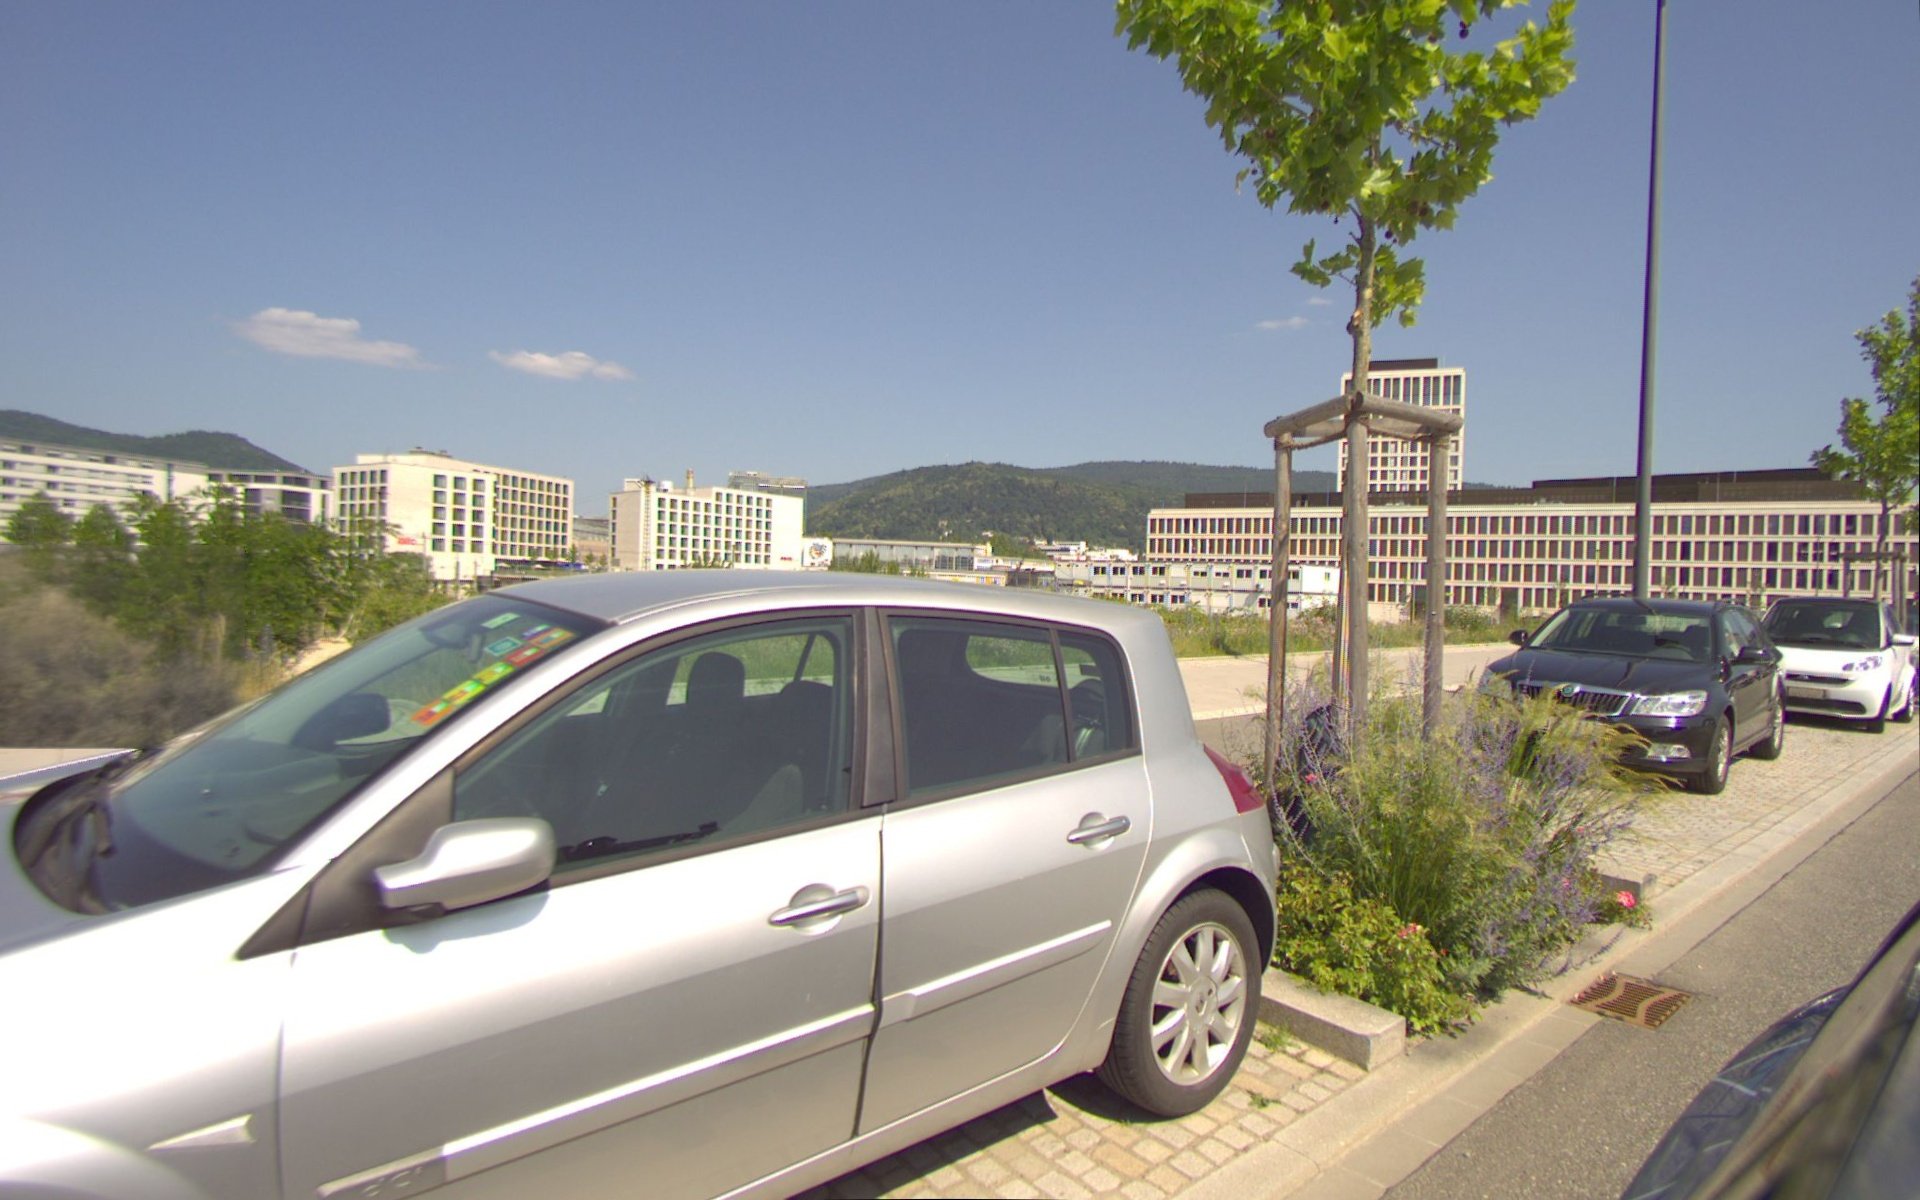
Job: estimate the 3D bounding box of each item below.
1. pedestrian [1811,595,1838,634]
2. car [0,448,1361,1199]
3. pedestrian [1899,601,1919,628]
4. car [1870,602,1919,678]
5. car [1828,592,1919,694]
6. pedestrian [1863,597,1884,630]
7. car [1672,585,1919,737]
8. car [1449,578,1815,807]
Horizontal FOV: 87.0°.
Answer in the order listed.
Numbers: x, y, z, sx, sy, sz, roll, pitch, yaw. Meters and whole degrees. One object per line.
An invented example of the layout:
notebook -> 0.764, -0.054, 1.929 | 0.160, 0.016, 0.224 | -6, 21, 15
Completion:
pedestrian -> 39.871, 0.655, 46.673 | 0.728, 1.726, 0.782 | 1, 1, -40
car -> -0.990, 0.545, 2.592 | 4.081, 1.497, 1.914 | 1, 1, -38
pedestrian -> 59.798, 0.903, 63.714 | 0.932, 1.628, 0.752 | 2, 3, -41
car -> 20.282, 0.844, 20.912 | 3.929, 1.470, 1.720 | 2, -1, -41
car -> 16.794, 0.705, 17.818 | 3.579, 1.542, 1.721 | -1, 4, -41
pedestrian -> 48.259, 0.708, 53.480 | 0.639, 1.727, 0.733 | 0, 0, -40
car -> 10.952, 0.669, 12.901 | 4.081, 1.597, 1.914 | 1, 1, -38
car -> 6.142, 0.627, 9.026 | 4.299, 1.495, 1.791 | 1, 2, -44
